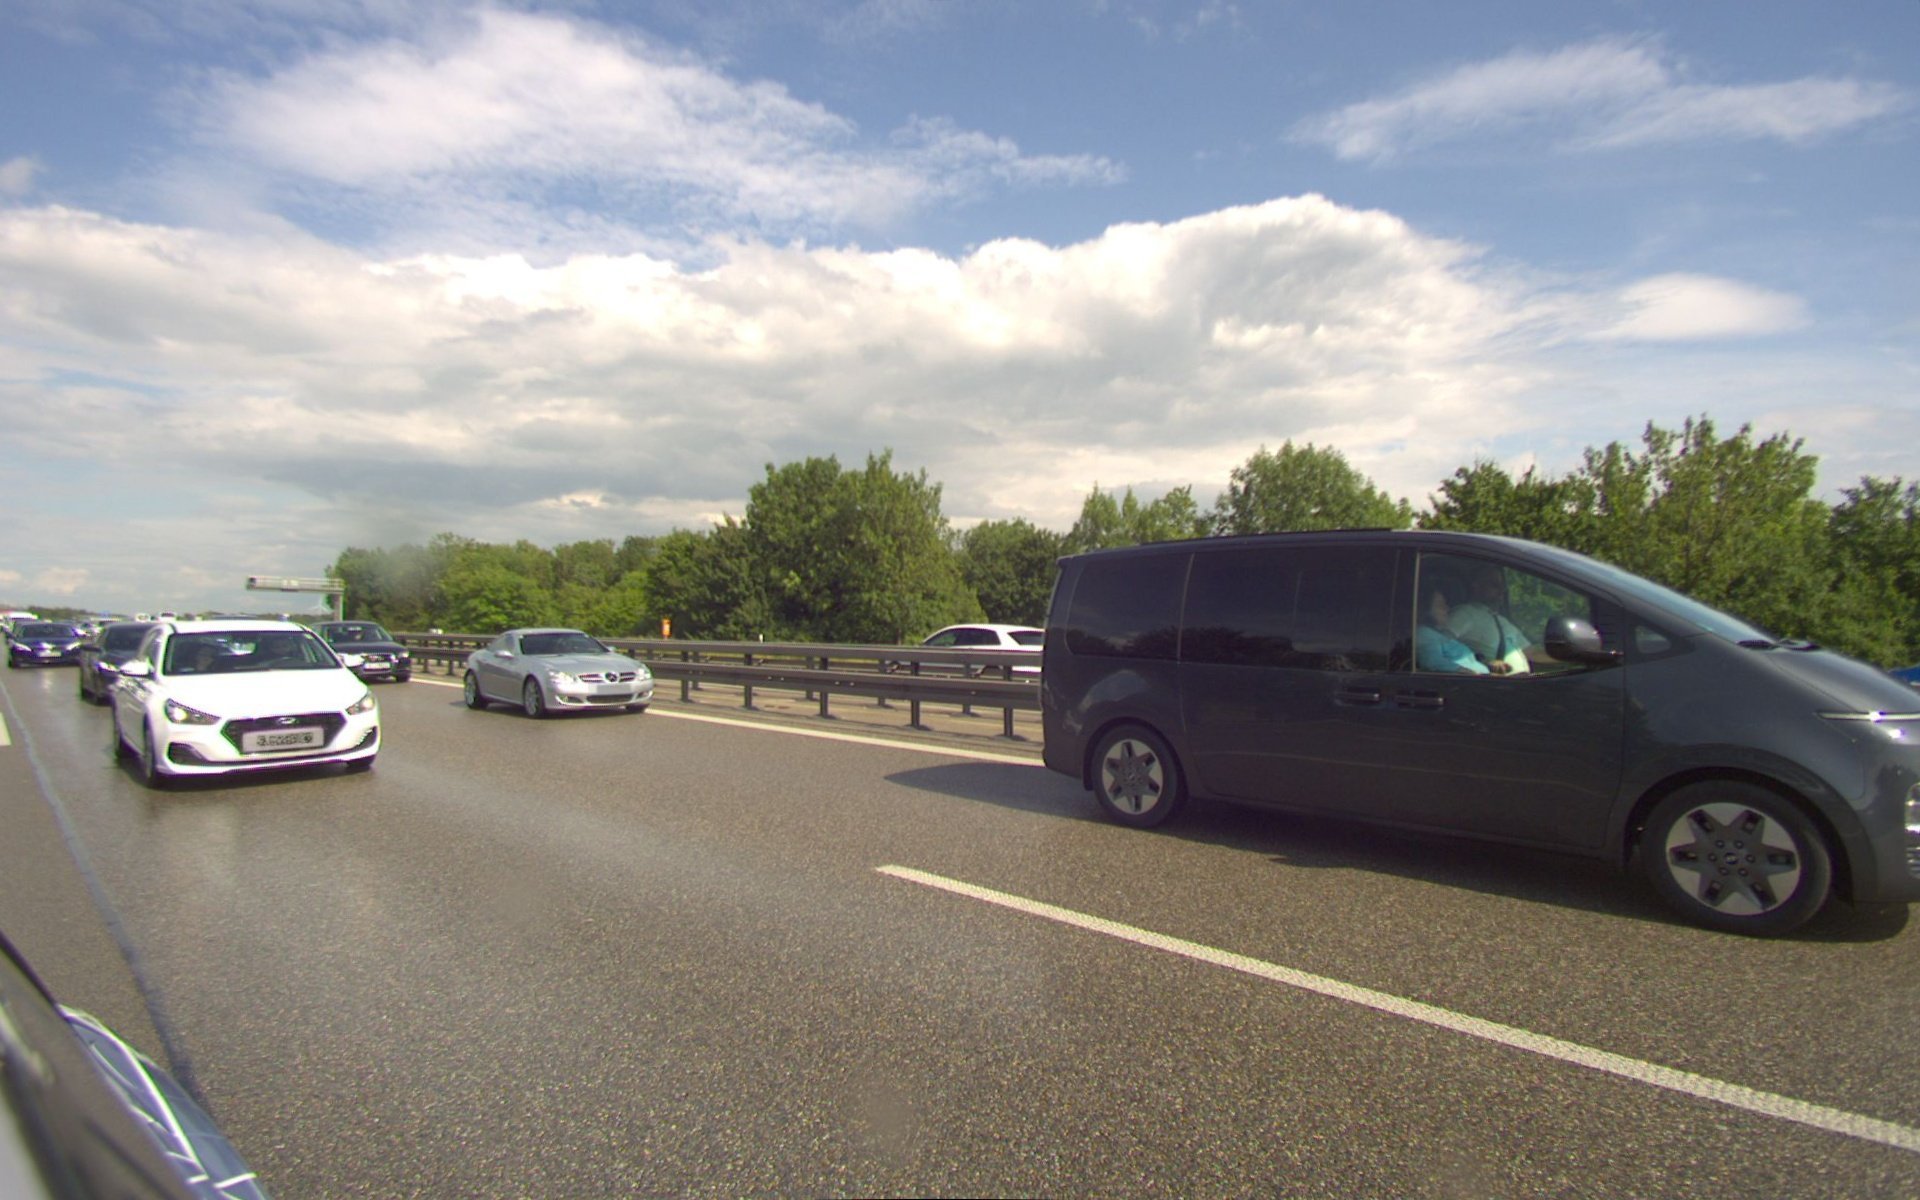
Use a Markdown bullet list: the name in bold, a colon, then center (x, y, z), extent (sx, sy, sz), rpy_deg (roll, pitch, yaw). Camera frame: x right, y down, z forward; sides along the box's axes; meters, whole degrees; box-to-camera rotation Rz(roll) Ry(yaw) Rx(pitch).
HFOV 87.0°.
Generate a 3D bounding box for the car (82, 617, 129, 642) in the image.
- **car**: center (-55.458, 1.887, 65.678), extent (4.001, 1.490, 1.971), rpy_deg (0, 1, 44)

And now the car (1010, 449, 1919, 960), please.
- **car**: center (2.929, 0.458, 6.289), extent (5.271, 2.029, 1.971), rpy_deg (-1, -1, 45)

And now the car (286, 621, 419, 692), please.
- **car**: center (-14.088, 1.237, 23.372), extent (1.746, 1.436, 4.141), rpy_deg (0, 0, -44)

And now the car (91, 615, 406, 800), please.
- **car**: center (-7.434, 0.909, 10.367), extent (4.550, 1.466, 1.860), rpy_deg (-1, -1, 45)

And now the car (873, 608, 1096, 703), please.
- **car**: center (0.404, 0.998, 19.493), extent (3.999, 1.636, 1.972), rpy_deg (-1, -1, 42)

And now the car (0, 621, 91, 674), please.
- **car**: center (-29.638, 1.487, 32.725), extent (4.001, 1.497, 1.971), rpy_deg (0, 1, 44)

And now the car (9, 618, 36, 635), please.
- **car**: center (-105.039, 2.949, 113.406), extent (4.001, 1.710, 1.971), rpy_deg (0, 1, 44)

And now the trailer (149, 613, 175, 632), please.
- **trailer**: center (-143.532, 4.015, 182.038), extent (2.698, 3.407, 9.568), rpy_deg (1, -1, -44)

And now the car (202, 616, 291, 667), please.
- **car**: center (-24.350, 1.357, 34.476), extent (1.849, 1.618, 4.231), rpy_deg (0, -1, -44)

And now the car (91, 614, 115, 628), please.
- **car**: center (-107.436, 2.625, 126.868), extent (1.971, 1.792, 4.463), rpy_deg (0, -1, -45)

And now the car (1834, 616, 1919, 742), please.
- **car**: center (12.096, 0.857, 10.967), extent (3.877, 1.390, 1.737), rpy_deg (-1, -2, 44)

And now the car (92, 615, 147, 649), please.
- **car**: center (-46.922, 1.751, 56.474), extent (4.001, 1.762, 1.971), rpy_deg (0, 1, 44)

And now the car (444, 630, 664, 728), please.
- **car**: center (-6.395, 1.122, 15.731), extent (4.065, 1.288, 1.705), rpy_deg (-1, -1, 45)

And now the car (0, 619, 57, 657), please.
- **car**: center (-41.204, 1.641, 44.475), extent (4.001, 1.490, 1.971), rpy_deg (0, 1, 44)

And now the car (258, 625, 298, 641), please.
- **car**: center (-66.355, 3.179, 98.475), extent (5.036, 1.498, 2.094), rpy_deg (-1, -1, 42)

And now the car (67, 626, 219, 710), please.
- **car**: center (-15.146, 1.174, 18.679), extent (4.289, 1.348, 1.705), rpy_deg (-1, -1, 45)

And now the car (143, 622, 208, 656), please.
- **car**: center (-34.985, 1.704, 45.071), extent (4.001, 1.389, 1.747), rpy_deg (0, -1, 44)

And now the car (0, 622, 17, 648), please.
- **car**: center (-60.345, 2.184, 63.148), extent (4.001, 1.490, 1.971), rpy_deg (0, 1, 44)
